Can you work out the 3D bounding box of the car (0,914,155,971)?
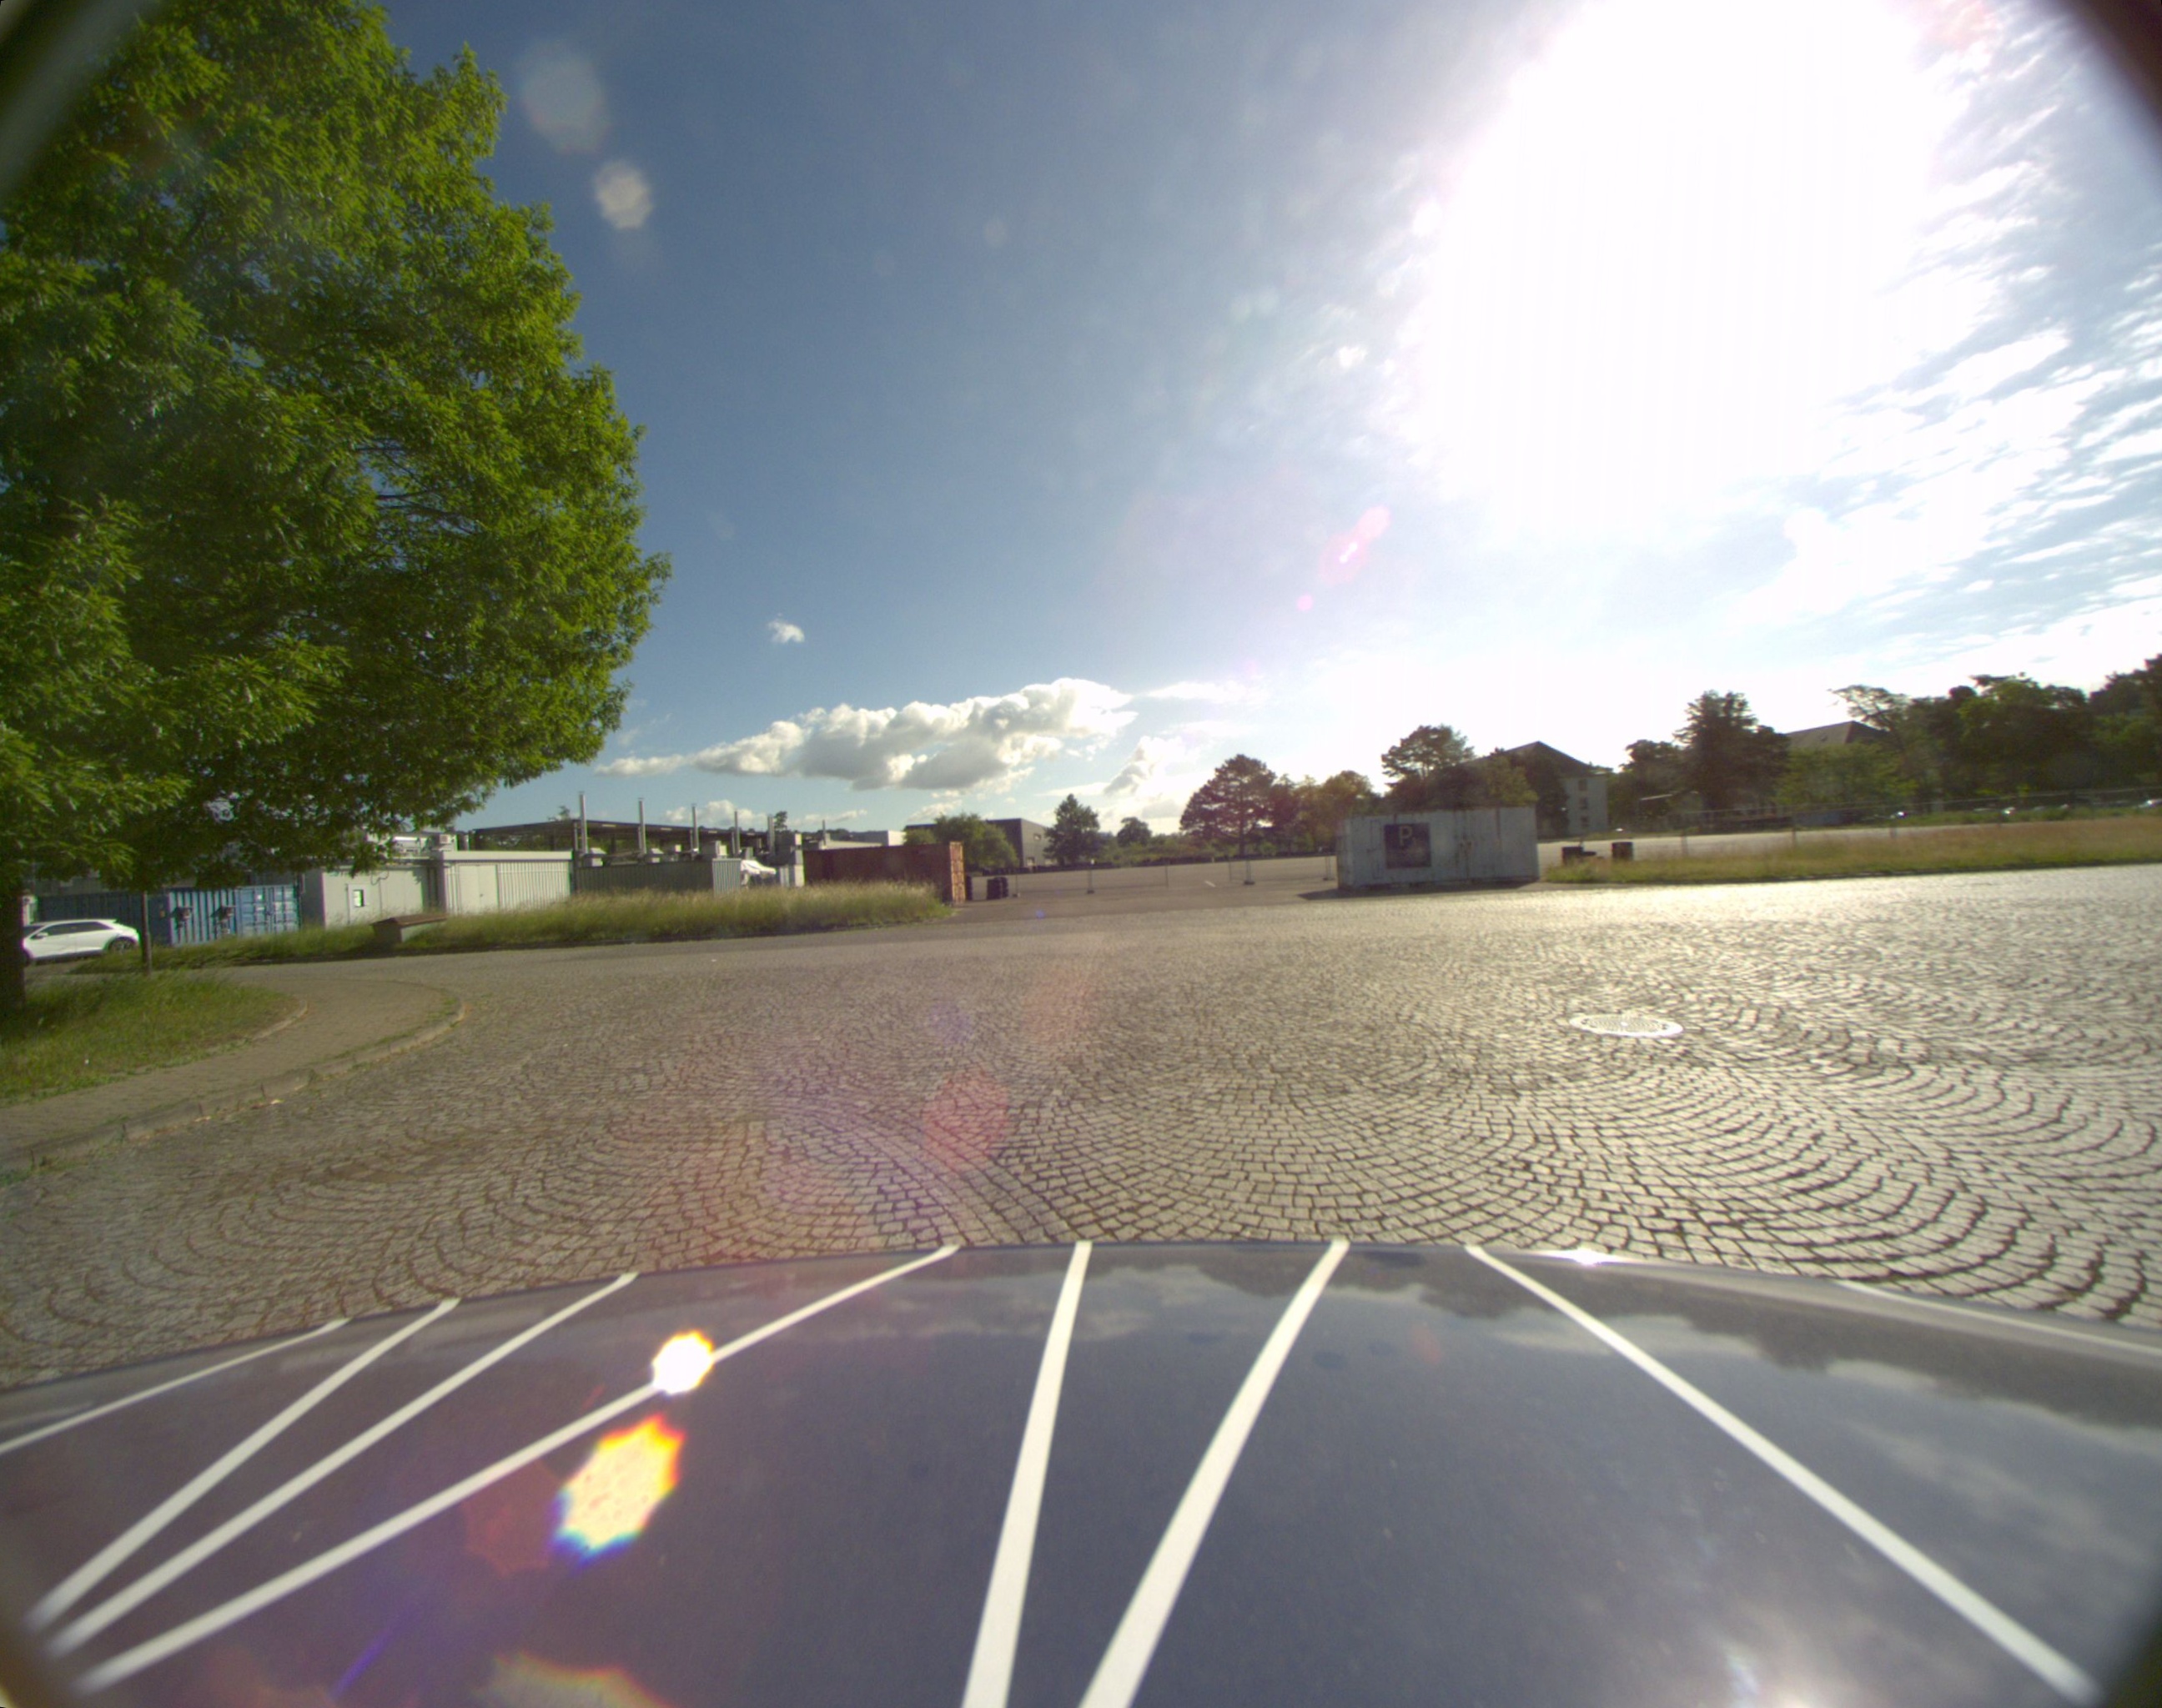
[{"bbox_3d":[-38.658,3.324,28.533,1.873,1.667,4.604,-3,0,4],"label":"car"}]
